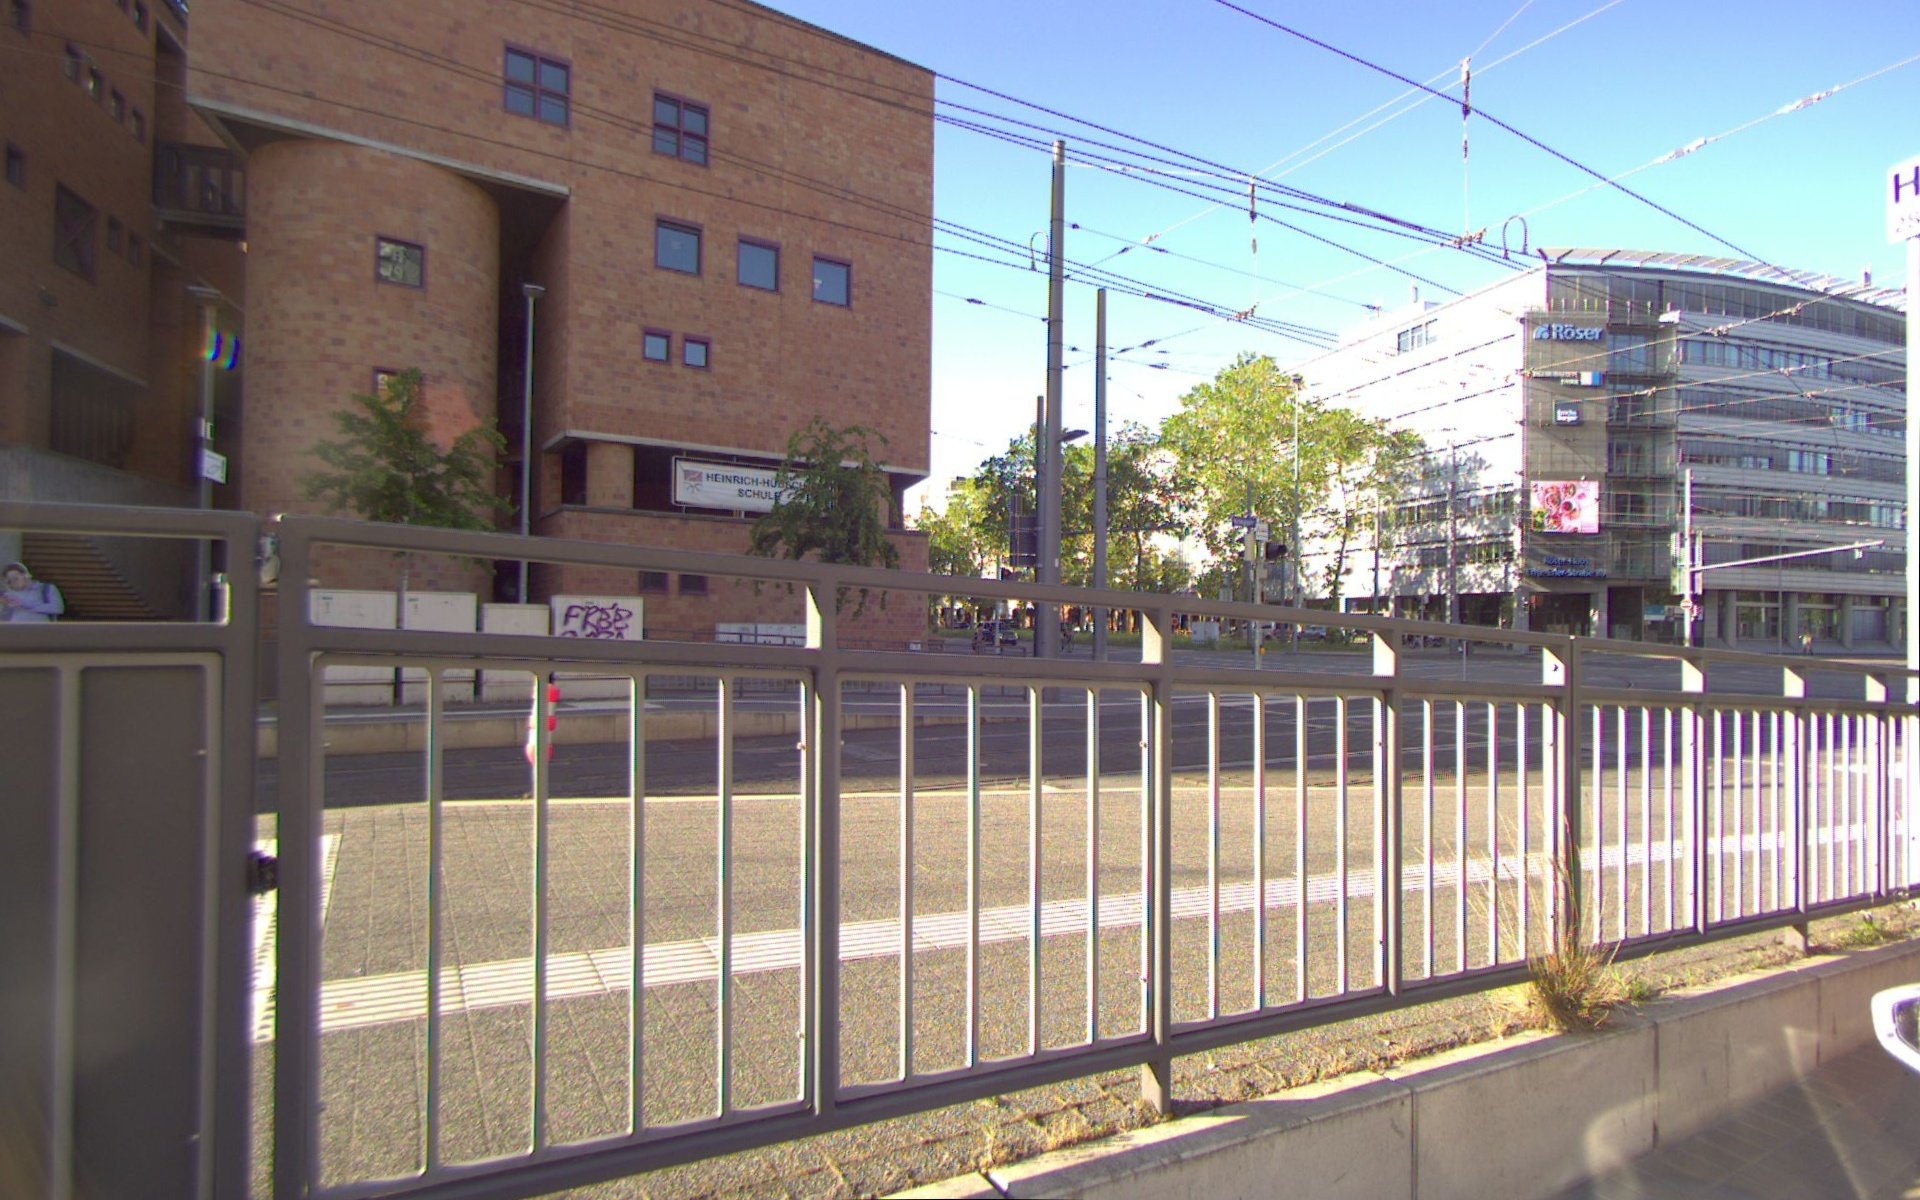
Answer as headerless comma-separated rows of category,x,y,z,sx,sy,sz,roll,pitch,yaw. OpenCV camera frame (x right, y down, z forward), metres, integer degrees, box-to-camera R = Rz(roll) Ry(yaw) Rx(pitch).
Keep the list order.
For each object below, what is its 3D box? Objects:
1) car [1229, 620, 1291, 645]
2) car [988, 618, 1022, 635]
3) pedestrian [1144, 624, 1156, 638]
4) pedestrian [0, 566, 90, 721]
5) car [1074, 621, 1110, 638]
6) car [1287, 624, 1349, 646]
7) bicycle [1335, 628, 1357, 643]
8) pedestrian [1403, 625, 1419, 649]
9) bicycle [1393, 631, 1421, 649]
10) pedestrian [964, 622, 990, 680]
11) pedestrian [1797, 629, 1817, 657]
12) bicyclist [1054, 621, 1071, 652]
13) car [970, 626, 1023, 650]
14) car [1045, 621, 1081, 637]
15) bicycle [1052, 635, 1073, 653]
car,24.169,2.566,81.208,1.904,1.868,4.889,-1,0,-28
car,5.274,3.086,117.579,2.011,2.003,4.382,0,-1,-29
pedestrian,20.723,3.377,109.421,0.860,1.567,0.989,1,-1,-22
pedestrian,-9.660,0.448,10.557,0.647,1.555,0.696,1,-1,-33
car,13.439,2.994,102.238,1.840,1.660,3.844,1,-1,-25
car,27.141,2.630,76.303,1.840,1.594,4.387,-1,0,-25
bicycle,30.529,2.773,79.337,1.812,1.167,0.467,0,0,-23
pedestrian,31.772,2.592,70.742,0.598,1.633,0.832,-2,2,-26
bicycle,31.415,2.796,70.636,0.605,1.179,1.835,-2,2,-27
pedestrian,0.482,1.464,28.963,0.501,1.639,0.504,2,0,-40
pedestrian,56.456,2.880,66.952,0.872,1.847,0.674,1,-2,-20
bicyclist,5.400,1.920,52.863,0.614,1.643,0.812,1,-1,-15
car,2.342,2.455,64.935,1.639,1.346,3.587,2,0,-34
car,10.984,3.096,107.442,1.969,1.650,4.055,0,-1,-29
bicycle,5.387,2.313,52.893,0.528,0.925,1.564,1,-1,-15
